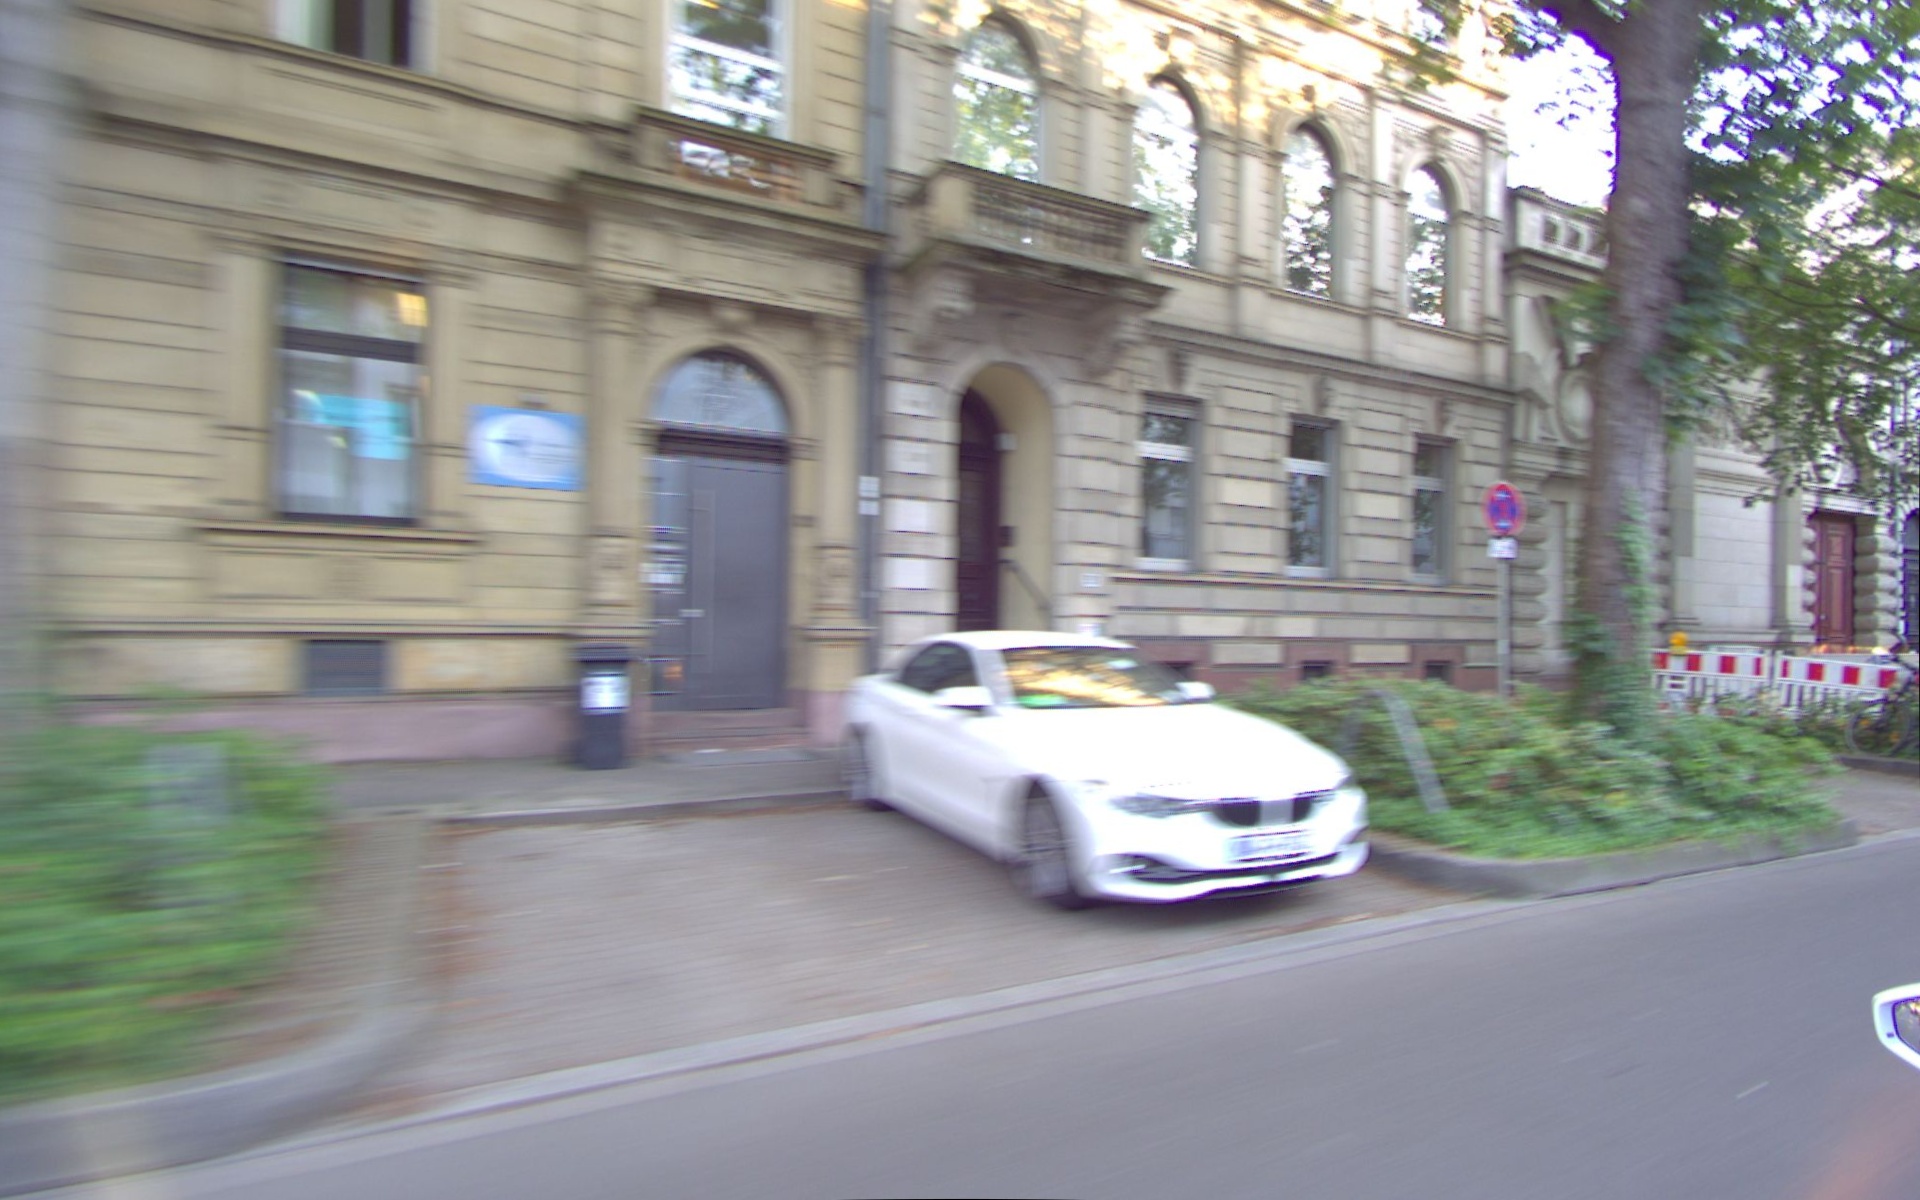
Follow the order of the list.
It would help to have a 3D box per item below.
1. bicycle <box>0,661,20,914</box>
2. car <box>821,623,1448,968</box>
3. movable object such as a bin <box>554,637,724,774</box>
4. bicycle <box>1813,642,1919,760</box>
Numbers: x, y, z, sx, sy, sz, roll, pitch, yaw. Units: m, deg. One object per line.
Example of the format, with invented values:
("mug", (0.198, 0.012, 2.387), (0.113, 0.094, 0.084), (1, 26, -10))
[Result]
("bicycle", (-3.808, 0.760, 3.249), (0.591, 1.022, 1.788), (2, 0, -26))
("car", (0.674, 0.908, 6.750), (1.891, 1.409, 4.499), (2, -1, -26))
("movable object such as a bin", (-2.842, 0.888, 8.875), (1.300, 1.076, 0.797), (1, 1, -28))
("bicycle", (10.619, 1.126, 11.112), (0.493, 1.248, 1.768), (2, -1, -21))
